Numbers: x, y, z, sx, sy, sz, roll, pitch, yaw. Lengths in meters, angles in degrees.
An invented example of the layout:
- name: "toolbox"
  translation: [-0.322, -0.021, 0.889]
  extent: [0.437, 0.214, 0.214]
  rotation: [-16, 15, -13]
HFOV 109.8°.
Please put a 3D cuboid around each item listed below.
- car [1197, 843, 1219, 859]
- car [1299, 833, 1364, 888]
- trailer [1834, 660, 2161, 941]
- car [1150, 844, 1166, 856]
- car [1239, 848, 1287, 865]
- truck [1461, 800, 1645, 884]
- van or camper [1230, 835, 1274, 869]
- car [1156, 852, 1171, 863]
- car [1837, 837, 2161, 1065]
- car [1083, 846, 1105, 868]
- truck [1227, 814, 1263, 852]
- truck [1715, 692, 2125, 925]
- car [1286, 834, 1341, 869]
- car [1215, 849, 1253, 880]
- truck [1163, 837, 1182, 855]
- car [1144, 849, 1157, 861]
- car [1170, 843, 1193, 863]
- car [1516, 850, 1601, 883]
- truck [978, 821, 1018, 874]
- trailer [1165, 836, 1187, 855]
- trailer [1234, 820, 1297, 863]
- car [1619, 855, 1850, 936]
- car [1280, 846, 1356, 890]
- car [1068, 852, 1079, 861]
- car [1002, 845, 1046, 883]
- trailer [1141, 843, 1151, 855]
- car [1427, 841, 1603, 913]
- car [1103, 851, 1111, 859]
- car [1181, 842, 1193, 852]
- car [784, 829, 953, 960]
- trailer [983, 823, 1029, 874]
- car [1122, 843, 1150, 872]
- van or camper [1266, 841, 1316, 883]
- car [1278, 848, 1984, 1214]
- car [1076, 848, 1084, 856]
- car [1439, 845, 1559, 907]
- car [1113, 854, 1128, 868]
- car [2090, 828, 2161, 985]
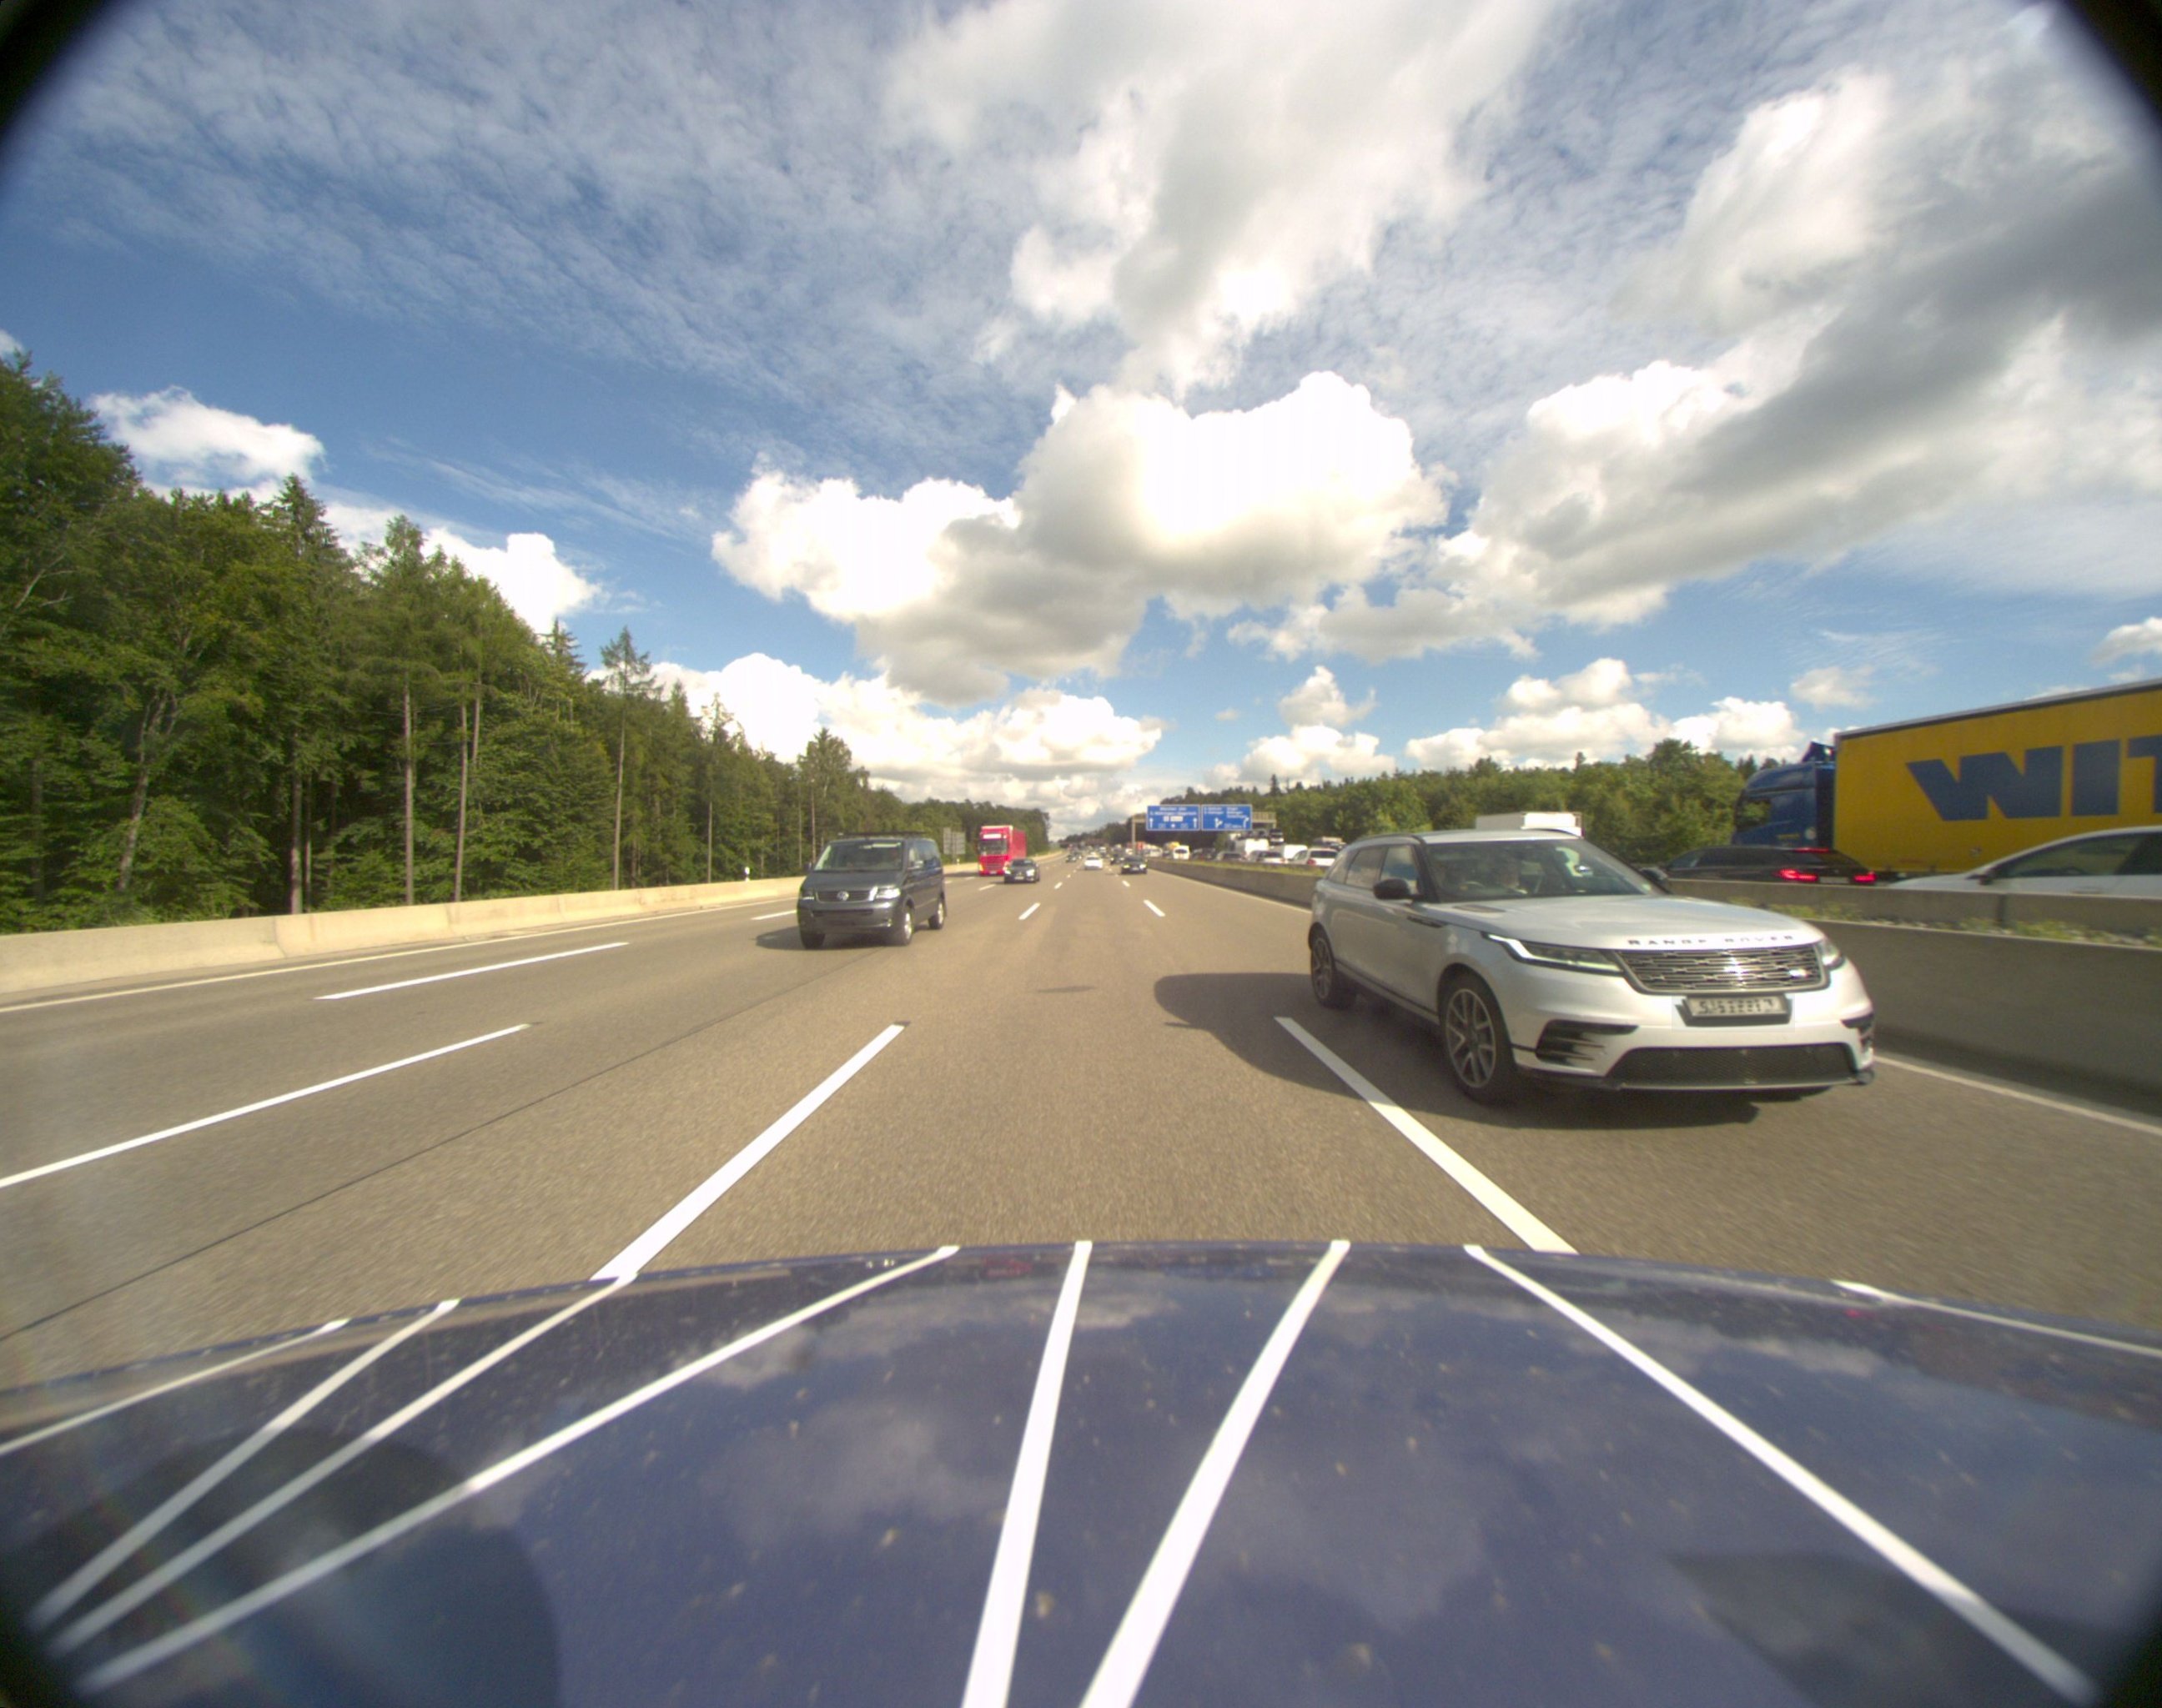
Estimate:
- name: "car"
  translation: [15.047, -0.394, 90.093]
  extent: [1.916, 1.865, 4.697]
  rotation: [-1, 1, 1]
- name: "car"
  translation: [14.865, 0.352, 45.390]
  extent: [1.998, 2.946, 5.402]
  rotation: [-3, 0, 1]
- name: "trailer"
  translation: [17.567, -0.794, 9.516]
  extent: [2.778, 4.211, 13.656]
  rotation: [-2, 2, 0]
- name: "car"
  translation: [11.825, -0.626, 116.975]
  extent: [2.091, 1.791, 4.179]
  rotation: [-2, 0, 1]
- name: "car"
  translation: [10.370, 0.127, 43.561]
  extent: [1.639, 0.853, 4.605]
  rotation: [-3, 0, 1]
- name: "truck"
  translation: [18.227, -0.434, 30.104]
  extent: [2.334, 2.785, 7.949]
  rotation: [-3, 0, 1]
- name: "van or camper"
  translation: [14.811, -0.232, 66.203]
  extent: [2.397, 2.696, 6.630]
  rotation: [-2, 2, 2]
- name: "car"
  translation: [10.689, 0.386, 98.612]
  extent: [1.699, 1.364, 4.000]
  rotation: [-2, 0, 2]
- name: "car"
  translation: [9.699, 0.788, 6.760]
  extent: [1.691, 1.805, 4.294]
  rotation: [-2, 2, 0]
- name: "car"
  translation: [1.288, 0.298, 75.445]
  extent: [1.998, 2.002, 4.000]
  rotation: [-3, 0, 2]
- name: "truck"
  translation: [19.170, -2.395, 89.066]
  extent: [2.860, 4.210, 5.712]
  rotation: [-2, 1, 1]
- name: "truck"
  translation: [17.580, -0.887, 16.607]
  extent: [2.743, 4.125, 5.615]
  rotation: [-2, 2, 0]
- name: "car"
  translation: [14.513, -0.225, 47.670]
  extent: [1.998, 2.002, 4.655]
  rotation: [-2, 2, 0]
- name: "car"
  translation: [11.061, 0.709, 55.126]
  extent: [1.998, 2.002, 4.409]
  rotation: [-1, 2, 2]
- name: "truck"
  translation: [20.843, -1.835, 172.923]
  extent: [3.425, 3.877, 6.801]
  rotation: [-3, 0, 1]
- name: "car"
  translation: [12.163, 0.191, 133.451]
  extent: [1.804, 1.865, 3.950]
  rotation: [-4, 1, 1]
- name: "car"
  translation: [11.264, -0.114, 85.530]
  extent: [1.998, 2.088, 5.277]
  rotation: [-2, 2, 2]
- name: "car"
  translation: [25.063, 0.627, 40.088]
  extent: [1.844, 1.486, 4.205]
  rotation: [-2, 2, 0]
- name: "truck"
  translation: [-6.803, -0.555, 62.818]
  extent: [2.532, 4.179, 4.652]
  rotation: [-2, 1, 1]
- name: "trailer"
  translation: [20.721, -1.776, 166.605]
  extent: [3.420, 3.805, 13.260]
  rotation: [-3, 0, 1]
- name: "trailer"
  translation: [19.036, -1.231, 79.760]
  extent: [2.837, 3.952, 16.004]
  rotation: [-2, 0, 1]
- name: "car"
  translation: [13.919, 0.809, 16.513]
  extent: [1.737, 1.393, 3.835]
  rotation: [-2, 2, 0]
- name: "car"
  translation: [10.371, 0.560, 33.630]
  extent: [1.998, 1.733, 4.295]
  rotation: [-3, 0, 1]
- name: "car"
  translation: [-1.396, 0.453, 139.636]
  extent: [1.911, 1.582, 4.286]
  rotation: [-2, 2, -1]
- name: "car"
  translation: [-3.275, 0.547, 44.197]
  extent: [1.998, 2.002, 4.000]
  rotation: [-3, 0, 2]
- name: "trailer"
  translation: [21.680, -1.775, 253.929]
  extent: [2.895, 3.637, 10.219]
  rotation: [-2, 1, 1]
- name: "car"
  translation: [9.900, 0.470, 17.734]
  extent: [1.761, 1.369, 4.000]
  rotation: [-4, 0, 0]
- name: "car"
  translation: [6.245, 0.242, 181.202]
  extent: [1.804, 1.783, 3.758]
  rotation: [-1, 1, 1]
- name: "car"
  translation: [21.082, -1.435, 151.463]
  extent: [1.804, 1.865, 3.950]
  rotation: [-1, 1, 1]
- name: "car"
  translation: [-3.961, 0.665, 15.177]
  extent: [1.927, 2.153, 4.960]
  rotation: [-1, 0, 0]
- name: "trailer"
  translation: [-6.691, -0.589, 70.019]
  extent: [2.531, 4.096, 14.375]
  rotation: [-2, 1, 1]
- name: "car"
  translation: [4.129, 0.276, 57.498]
  extent: [1.919, 2.002, 4.001]
  rotation: [-4, 0, 2]
- name: "van or camper"
  translation: [14.842, 0.506, 54.015]
  extent: [2.050, 2.696, 5.749]
  rotation: [-2, 2, 2]
- name: "car"
  translation: [3.147, 0.789, 5.982]
  extent: [1.904, 1.597, 5.105]
  rotation: [-2, 1, 1]
- name: "car"
  translation: [-0.319, -0.377, 183.422]
  extent: [1.804, 1.865, 3.950]
  rotation: [-1, 1, 1]
- name: "car"
  translation: [14.067, 0.661, 25.879]
  extent: [1.691, 1.805, 4.294]
  rotation: [-2, 2, 0]
- name: "car"
  translation: [5.280, 0.939, 102.033]
  extent: [1.911, 1.582, 4.287]
  rotation: [-2, 2, 1]
- name: "car"
  translation: [13.425, 0.640, 7.326]
  extent: [1.691, 1.805, 4.294]
  rotation: [-2, 2, 0]
